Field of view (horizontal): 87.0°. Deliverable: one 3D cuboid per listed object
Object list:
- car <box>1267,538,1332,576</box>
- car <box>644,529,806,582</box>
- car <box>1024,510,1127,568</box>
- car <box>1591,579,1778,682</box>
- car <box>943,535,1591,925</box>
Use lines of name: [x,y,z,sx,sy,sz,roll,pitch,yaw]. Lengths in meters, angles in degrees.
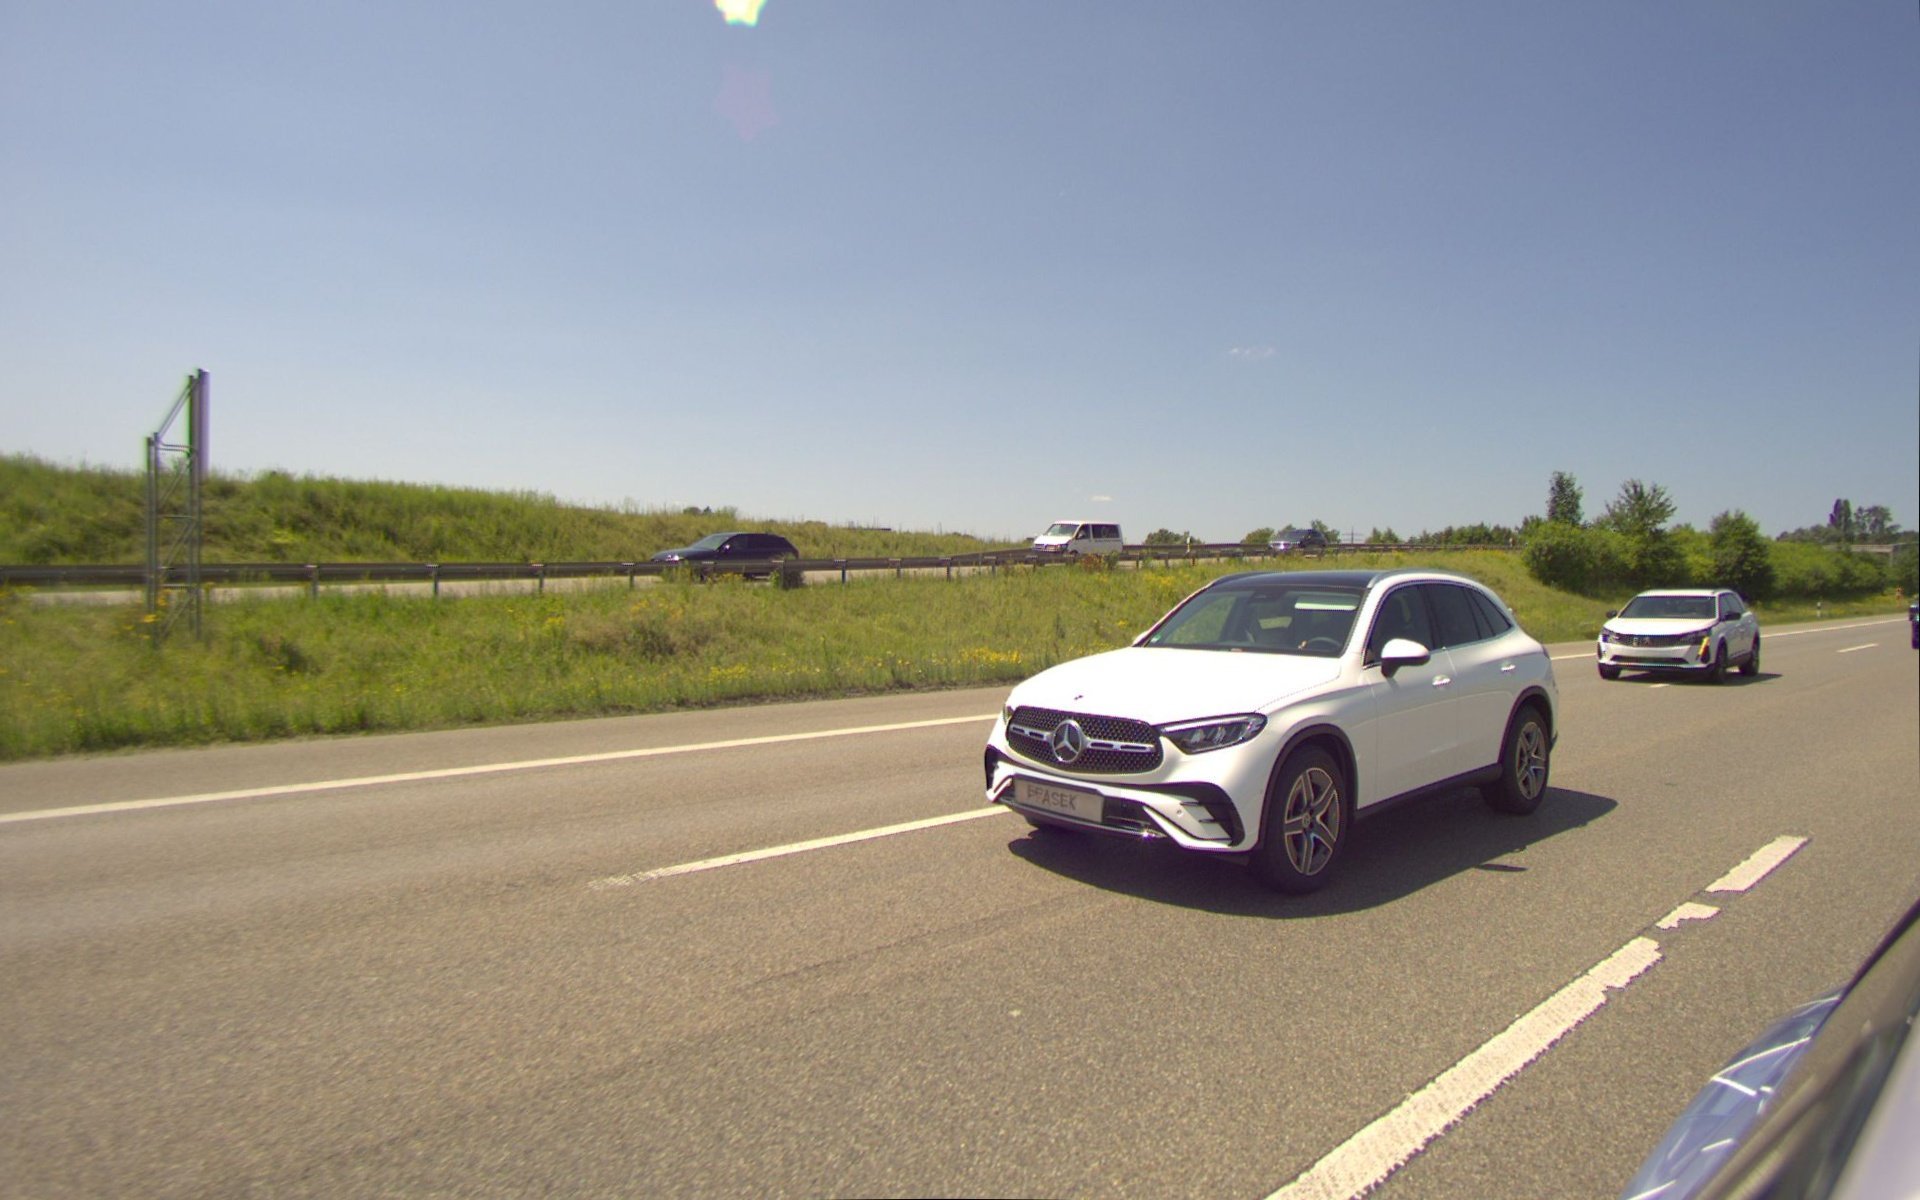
car: [19.681,-2.461,58.616,3.935,2.039,1.994,-2,1,-44]
car: [-6.755,-1.228,29.421,1.993,1.400,4.231,1,1,42]
car: [4.985,-2.518,43.118,1.992,2.199,4.819,1,1,42]
car: [13.516,0.475,18.772,4.538,1.650,1.896,-2,1,-42]
car: [2.239,0.536,6.574,4.556,1.677,1.908,-1,0,-41]
